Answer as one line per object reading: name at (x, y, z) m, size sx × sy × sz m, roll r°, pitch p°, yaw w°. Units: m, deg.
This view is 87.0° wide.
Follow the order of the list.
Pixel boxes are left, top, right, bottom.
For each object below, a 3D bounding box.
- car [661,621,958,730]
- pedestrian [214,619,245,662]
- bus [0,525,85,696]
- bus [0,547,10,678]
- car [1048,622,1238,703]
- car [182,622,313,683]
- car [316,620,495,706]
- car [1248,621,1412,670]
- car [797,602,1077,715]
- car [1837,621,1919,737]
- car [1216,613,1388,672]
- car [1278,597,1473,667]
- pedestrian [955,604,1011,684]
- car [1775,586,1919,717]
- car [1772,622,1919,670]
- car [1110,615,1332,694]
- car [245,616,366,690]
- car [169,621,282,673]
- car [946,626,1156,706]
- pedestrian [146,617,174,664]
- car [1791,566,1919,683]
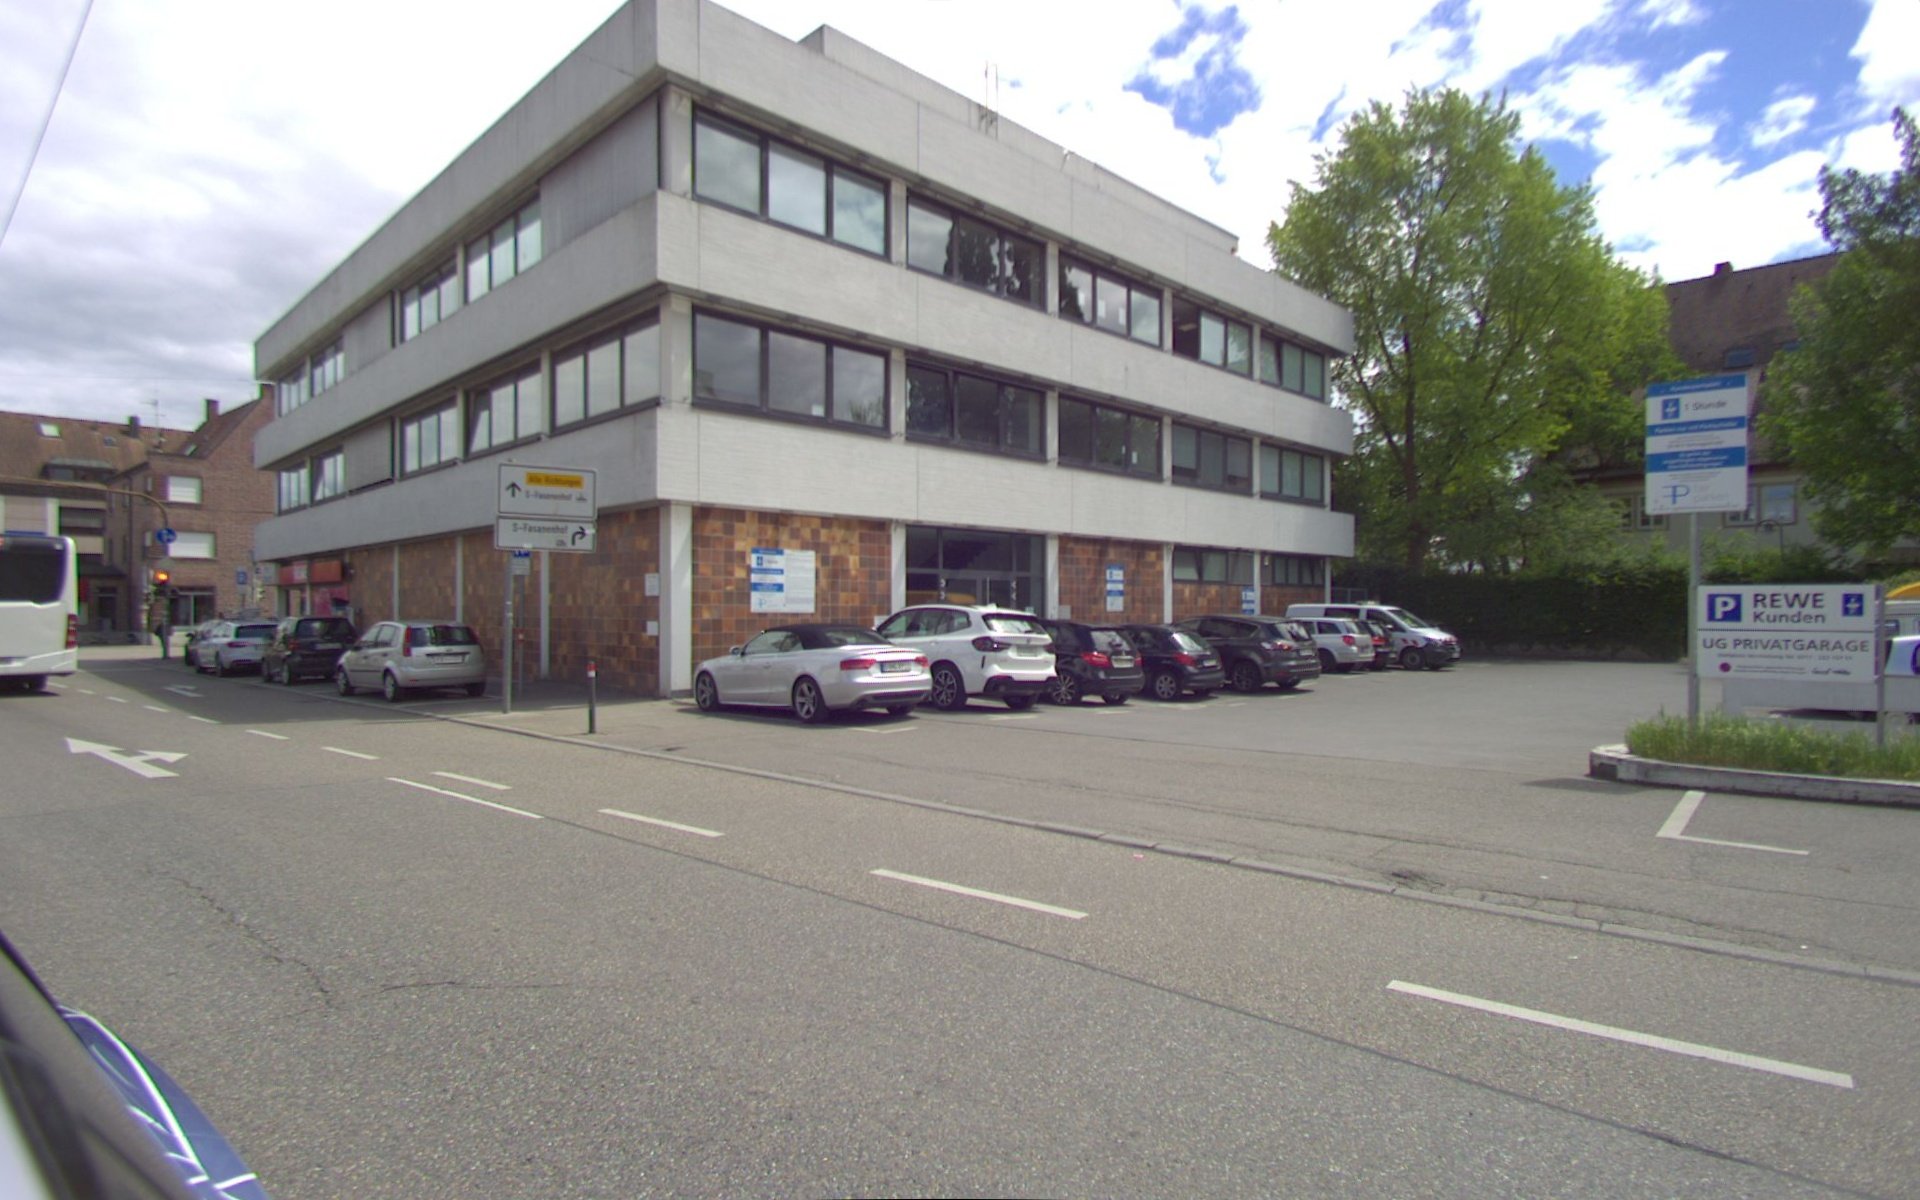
car at (-2.429, 1.017, 15.329) m, size 4.857 × 1.368 × 1.929 m, roll -1°, pitch -1°, yaw 44°
pedestrian at (-27.668, 1.522, 38.316) m, size 0.809 × 1.566 × 0.846 m, roll -1°, pitch 0°, yaw -44°
bus at (-21.119, 0.242, 21.322) m, size 8.059 × 3.188 × 2.689 m, roll -1°, pitch -1°, yaw 39°
bus at (-28.086, 0.365, 27.163) m, size 10.177 × 3.188 × 2.655 m, roll -1°, pitch -1°, yaw 41°
car at (3.824, 1.246, 21.466) m, size 3.604 × 1.558 × 1.744 m, roll -1°, pitch -2°, yaw 43°
car at (-19.564, 1.373, 27.703) m, size 4.953 × 1.455 × 2.022 m, roll -1°, pitch 0°, yaw 44°
car at (-10.712, 1.133, 19.438) m, size 4.146 × 1.433 × 1.704 m, roll -1°, pitch 0°, yaw 41°
car at (10.498, 1.249, 28.889) m, size 1.825 × 1.304 × 4.003 m, roll 1°, pitch -2°, yaw -44°
car at (-0.536, 0.955, 17.121) m, size 1.928 × 1.632 × 4.934 m, roll 4°, pitch -4°, yaw -43°
car at (14.321, 1.054, 13.544) m, size 3.751 × 1.541 × 1.794 m, roll -1°, pitch -1°, yaw 38°
car at (9.144, 1.111, 27.239) m, size 1.825 × 1.472 × 4.003 m, roll 1°, pitch -2°, yaw -44°
car at (12.437, 0.938, 30.579) m, size 1.945 × 1.956 × 5.092 m, roll 1°, pitch -1°, yaw -44°
pedestrian at (0.499, 0.956, 22.006) m, size 0.709 × 1.684 × 0.996 m, roll 3°, pitch -3°, yaw -44°
car at (15.801, 0.790, 15.796) m, size 4.649 × 2.004 × 1.817 m, roll -1°, pitch -1°, yaw 44°
car at (25.024, 1.268, 28.629) m, size 1.400 × 1.193 × 3.040 m, roll -3°, pitch 1°, yaw -43°
car at (5.785, 1.170, 22.787) m, size 4.497 × 1.590 × 1.900 m, roll -2°, pitch -2°, yaw 44°
car at (-15.381, 1.200, 23.730) m, size 3.057 × 1.567 × 1.717 m, roll -1°, pitch 0°, yaw 44°
car at (-23.170, 1.430, 31.862) m, size 4.284 × 1.486 × 2.023 m, roll -1°, pitch 0°, yaw 42°
car at (1.646, 1.157, 18.942) m, size 3.604 × 1.341 × 1.744 m, roll -1°, pitch -2°, yaw 43°
pedestrian at (-28.903, 1.454, 36.553) m, size 0.682 × 1.657 × 0.709 m, roll -1°, pitch 0°, yaw 45°
car at (22.278, 0.559, 22.315) m, size 5.978 × 2.549 × 2.039 m, roll -1°, pitch -3°, yaw 43°
